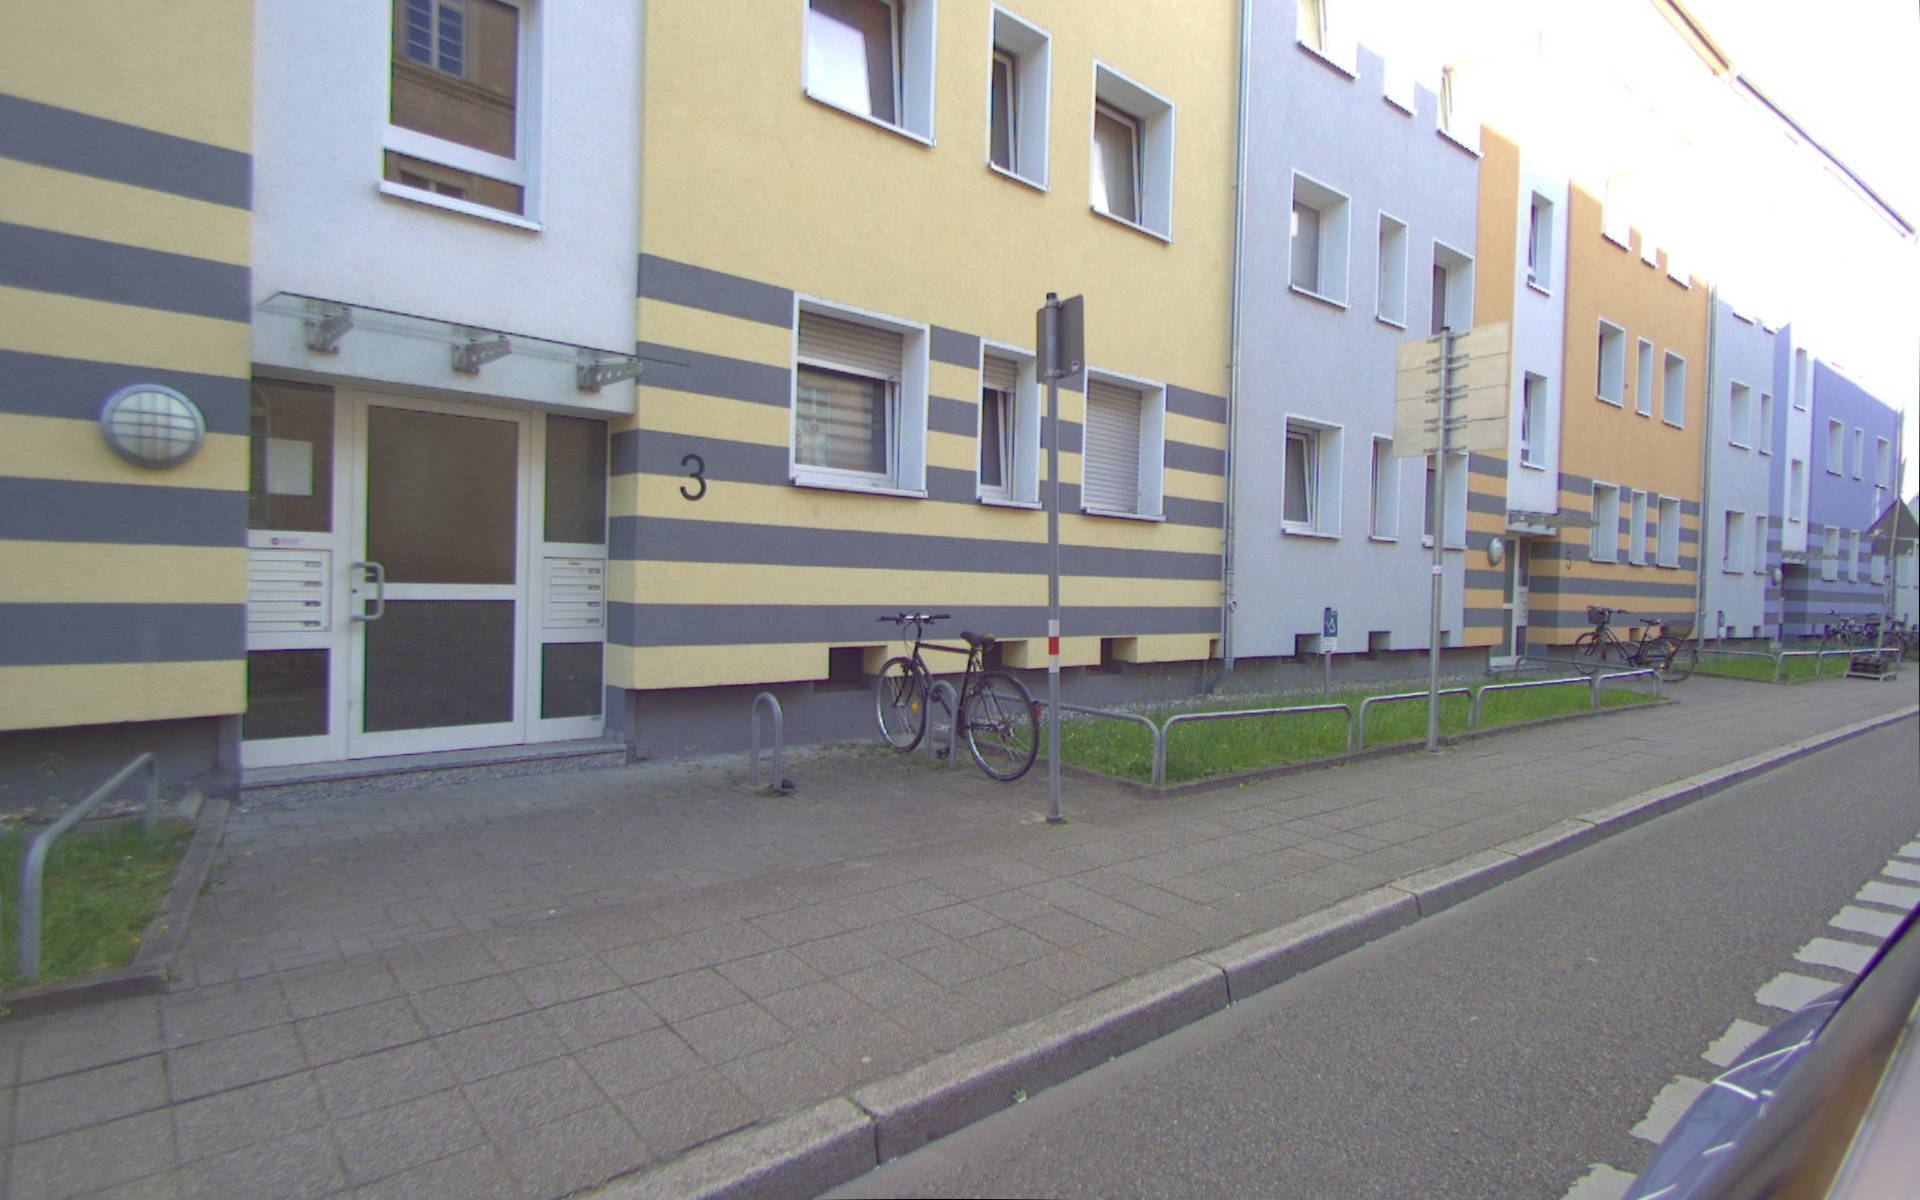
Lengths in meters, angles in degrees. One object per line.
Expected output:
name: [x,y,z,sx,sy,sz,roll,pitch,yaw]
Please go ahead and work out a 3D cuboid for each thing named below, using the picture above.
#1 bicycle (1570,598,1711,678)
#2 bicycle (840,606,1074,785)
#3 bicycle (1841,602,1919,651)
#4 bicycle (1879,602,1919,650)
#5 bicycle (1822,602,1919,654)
bicycle: [10.685,0.569,15.938,1.775,1.137,0.476,3,1,44]
bicycle: [-0.075,0.591,7.008,1.775,1.031,0.476,3,1,44]
bicycle: [23.304,0.655,25.415,0.475,1.166,1.678,1,1,-37]
bicycle: [24.132,0.667,25.272,0.475,1.166,1.678,1,1,-37]
bicycle: [22.223,0.672,24.723,0.475,1.166,1.678,1,1,-37]
